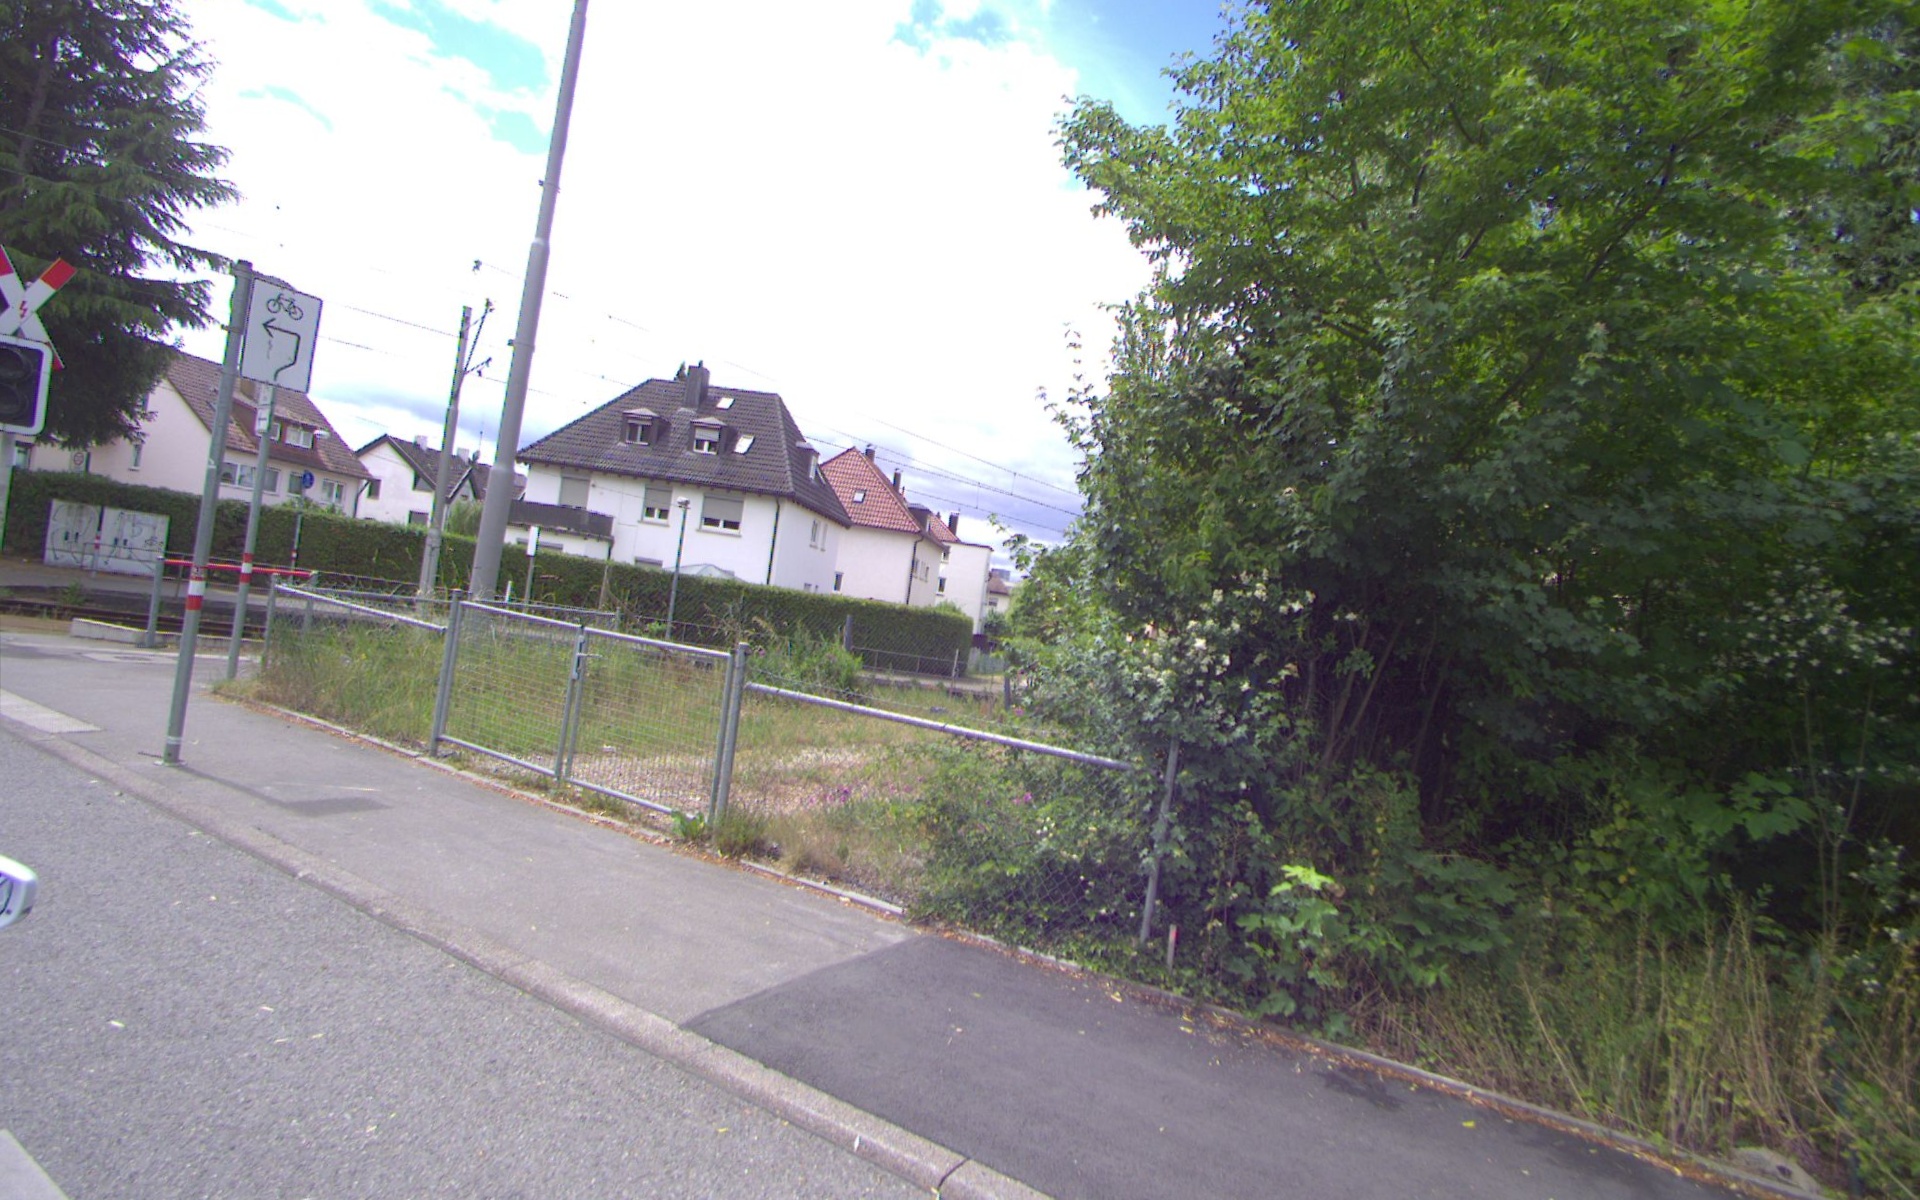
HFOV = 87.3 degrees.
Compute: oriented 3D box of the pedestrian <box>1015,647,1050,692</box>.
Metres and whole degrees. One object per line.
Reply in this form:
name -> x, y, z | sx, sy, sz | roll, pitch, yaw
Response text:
pedestrian -> 3.004, 2.864, 41.713 | 0.910, 1.707, 0.925 | 8, -1, -31
